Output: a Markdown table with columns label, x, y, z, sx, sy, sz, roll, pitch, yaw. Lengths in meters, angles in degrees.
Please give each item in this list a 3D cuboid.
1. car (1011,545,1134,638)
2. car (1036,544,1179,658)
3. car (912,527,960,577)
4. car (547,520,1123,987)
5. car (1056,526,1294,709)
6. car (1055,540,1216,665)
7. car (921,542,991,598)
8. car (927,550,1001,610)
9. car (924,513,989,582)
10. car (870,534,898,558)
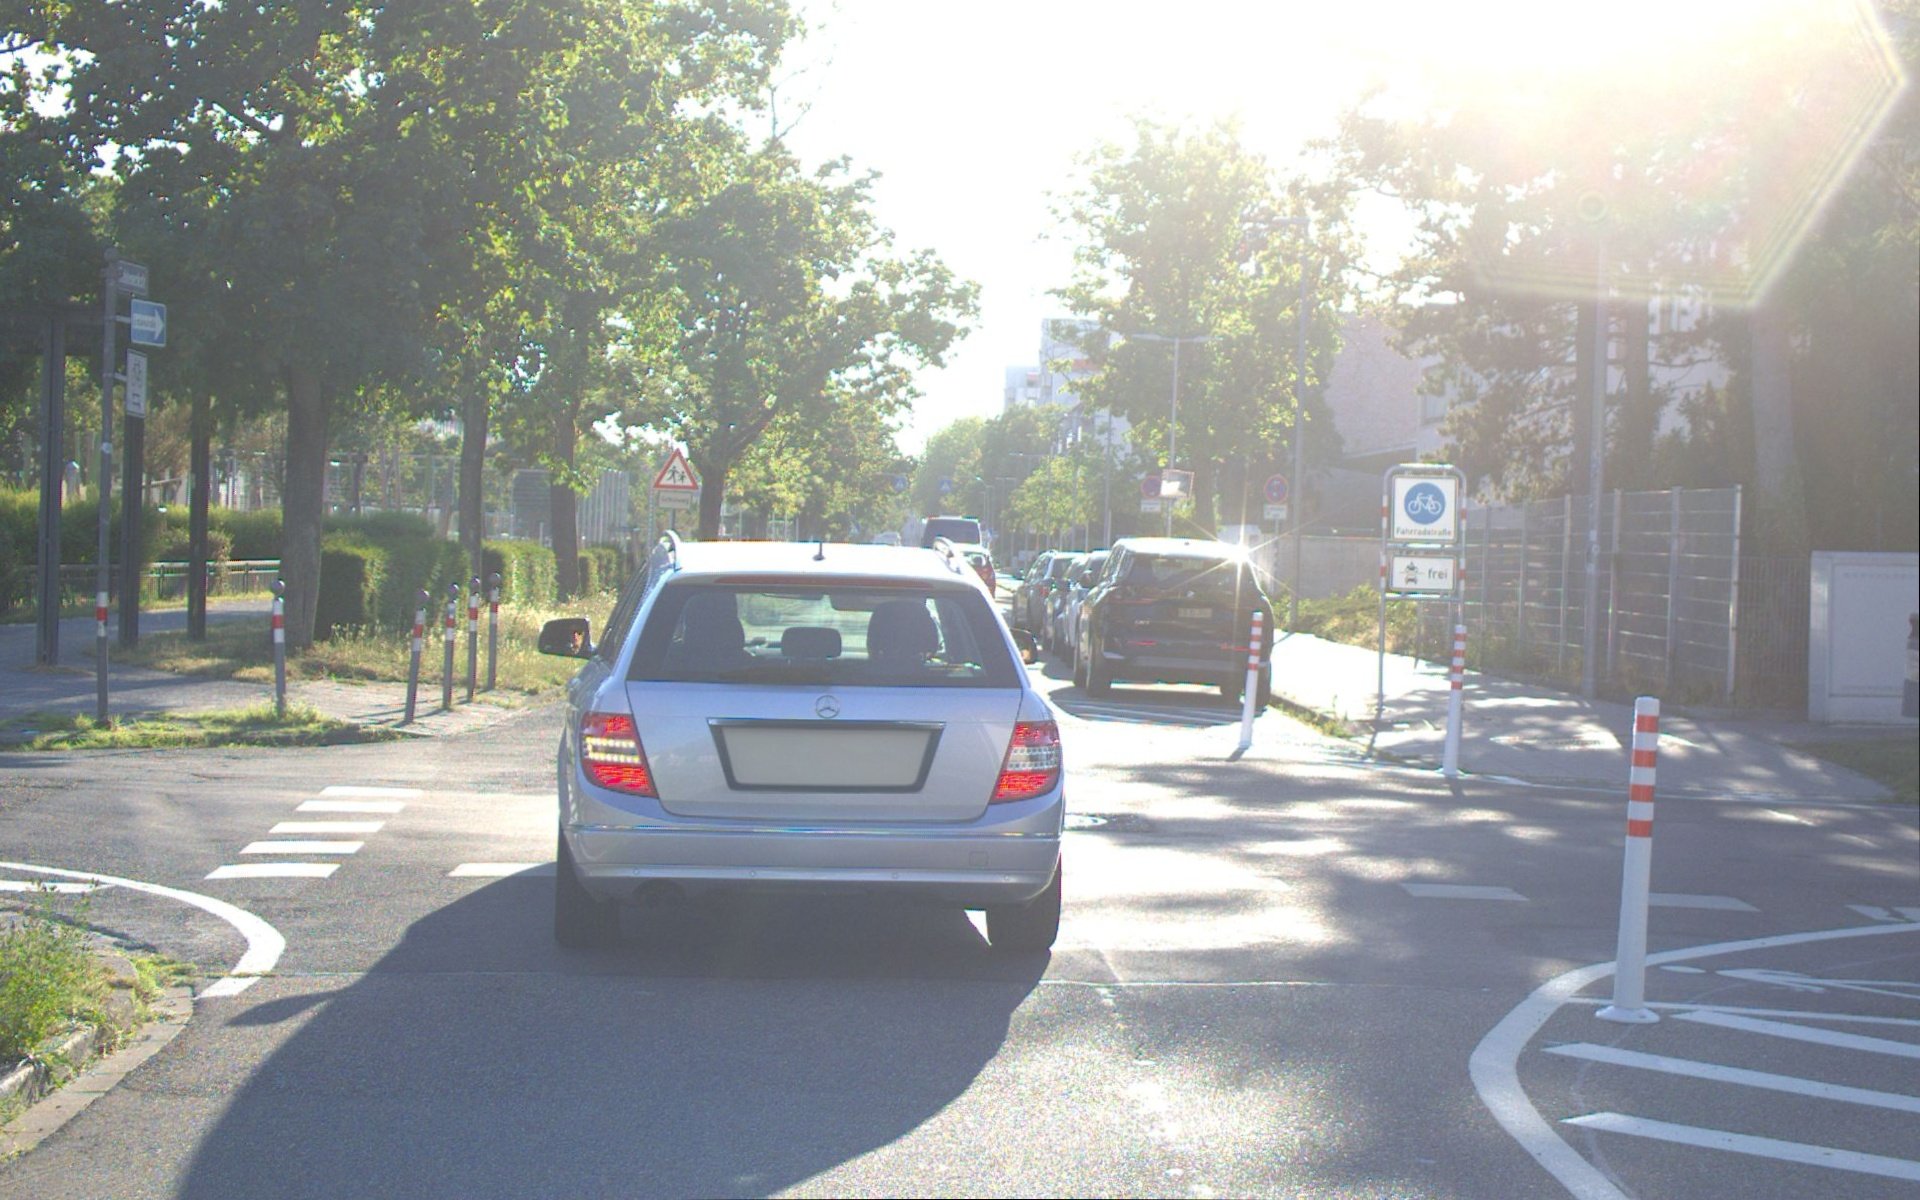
| label | x | y | z | sx | sy | sz | roll | pitch | yaw |
| --- | --- | --- | --- | --- | --- | --- | --- | --- | --- |
| car | 1.888 | -0.173 | 58.686 | 1.765 | 1.521 | 3.773 | 1 | 1 | -3 |
| car | 2.082 | -0.020 | 49.307 | 1.729 | 1.513 | 3.760 | 2 | 1 | -2 |
| car | -1.070 | -2.095 | 150.071 | 1.993 | 2.116 | 4.000 | 2 | 1 | -1 |
| car | -0.631 | 0.456 | 13.099 | 1.816 | 1.468 | 4.217 | 1 | 1 | -6 |
| car | 2.135 | 0.139 | 35.306 | 1.817 | 1.636 | 4.217 | 4 | 1 | -3 |
| car | 2.211 | 0.005 | 44.181 | 1.765 | 1.521 | 3.773 | 1 | 1 | -1 |
| car | -0.132 | -0.866 | 97.475 | 1.729 | 1.513 | 3.761 | 2 | 1 | -3 |
| car | 0.091 | -0.558 | 93.224 | 1.756 | 1.513 | 3.761 | 2 | 1 | -3 |
| car | -0.119 | -1.692 | 110.894 | 1.993 | 2.116 | 4.000 | 2 | 1 | -1 |
| car | -5.328 | -3.774 | 240.631 | 1.865 | 1.612 | 4.000 | 2 | 1 | -2 |
